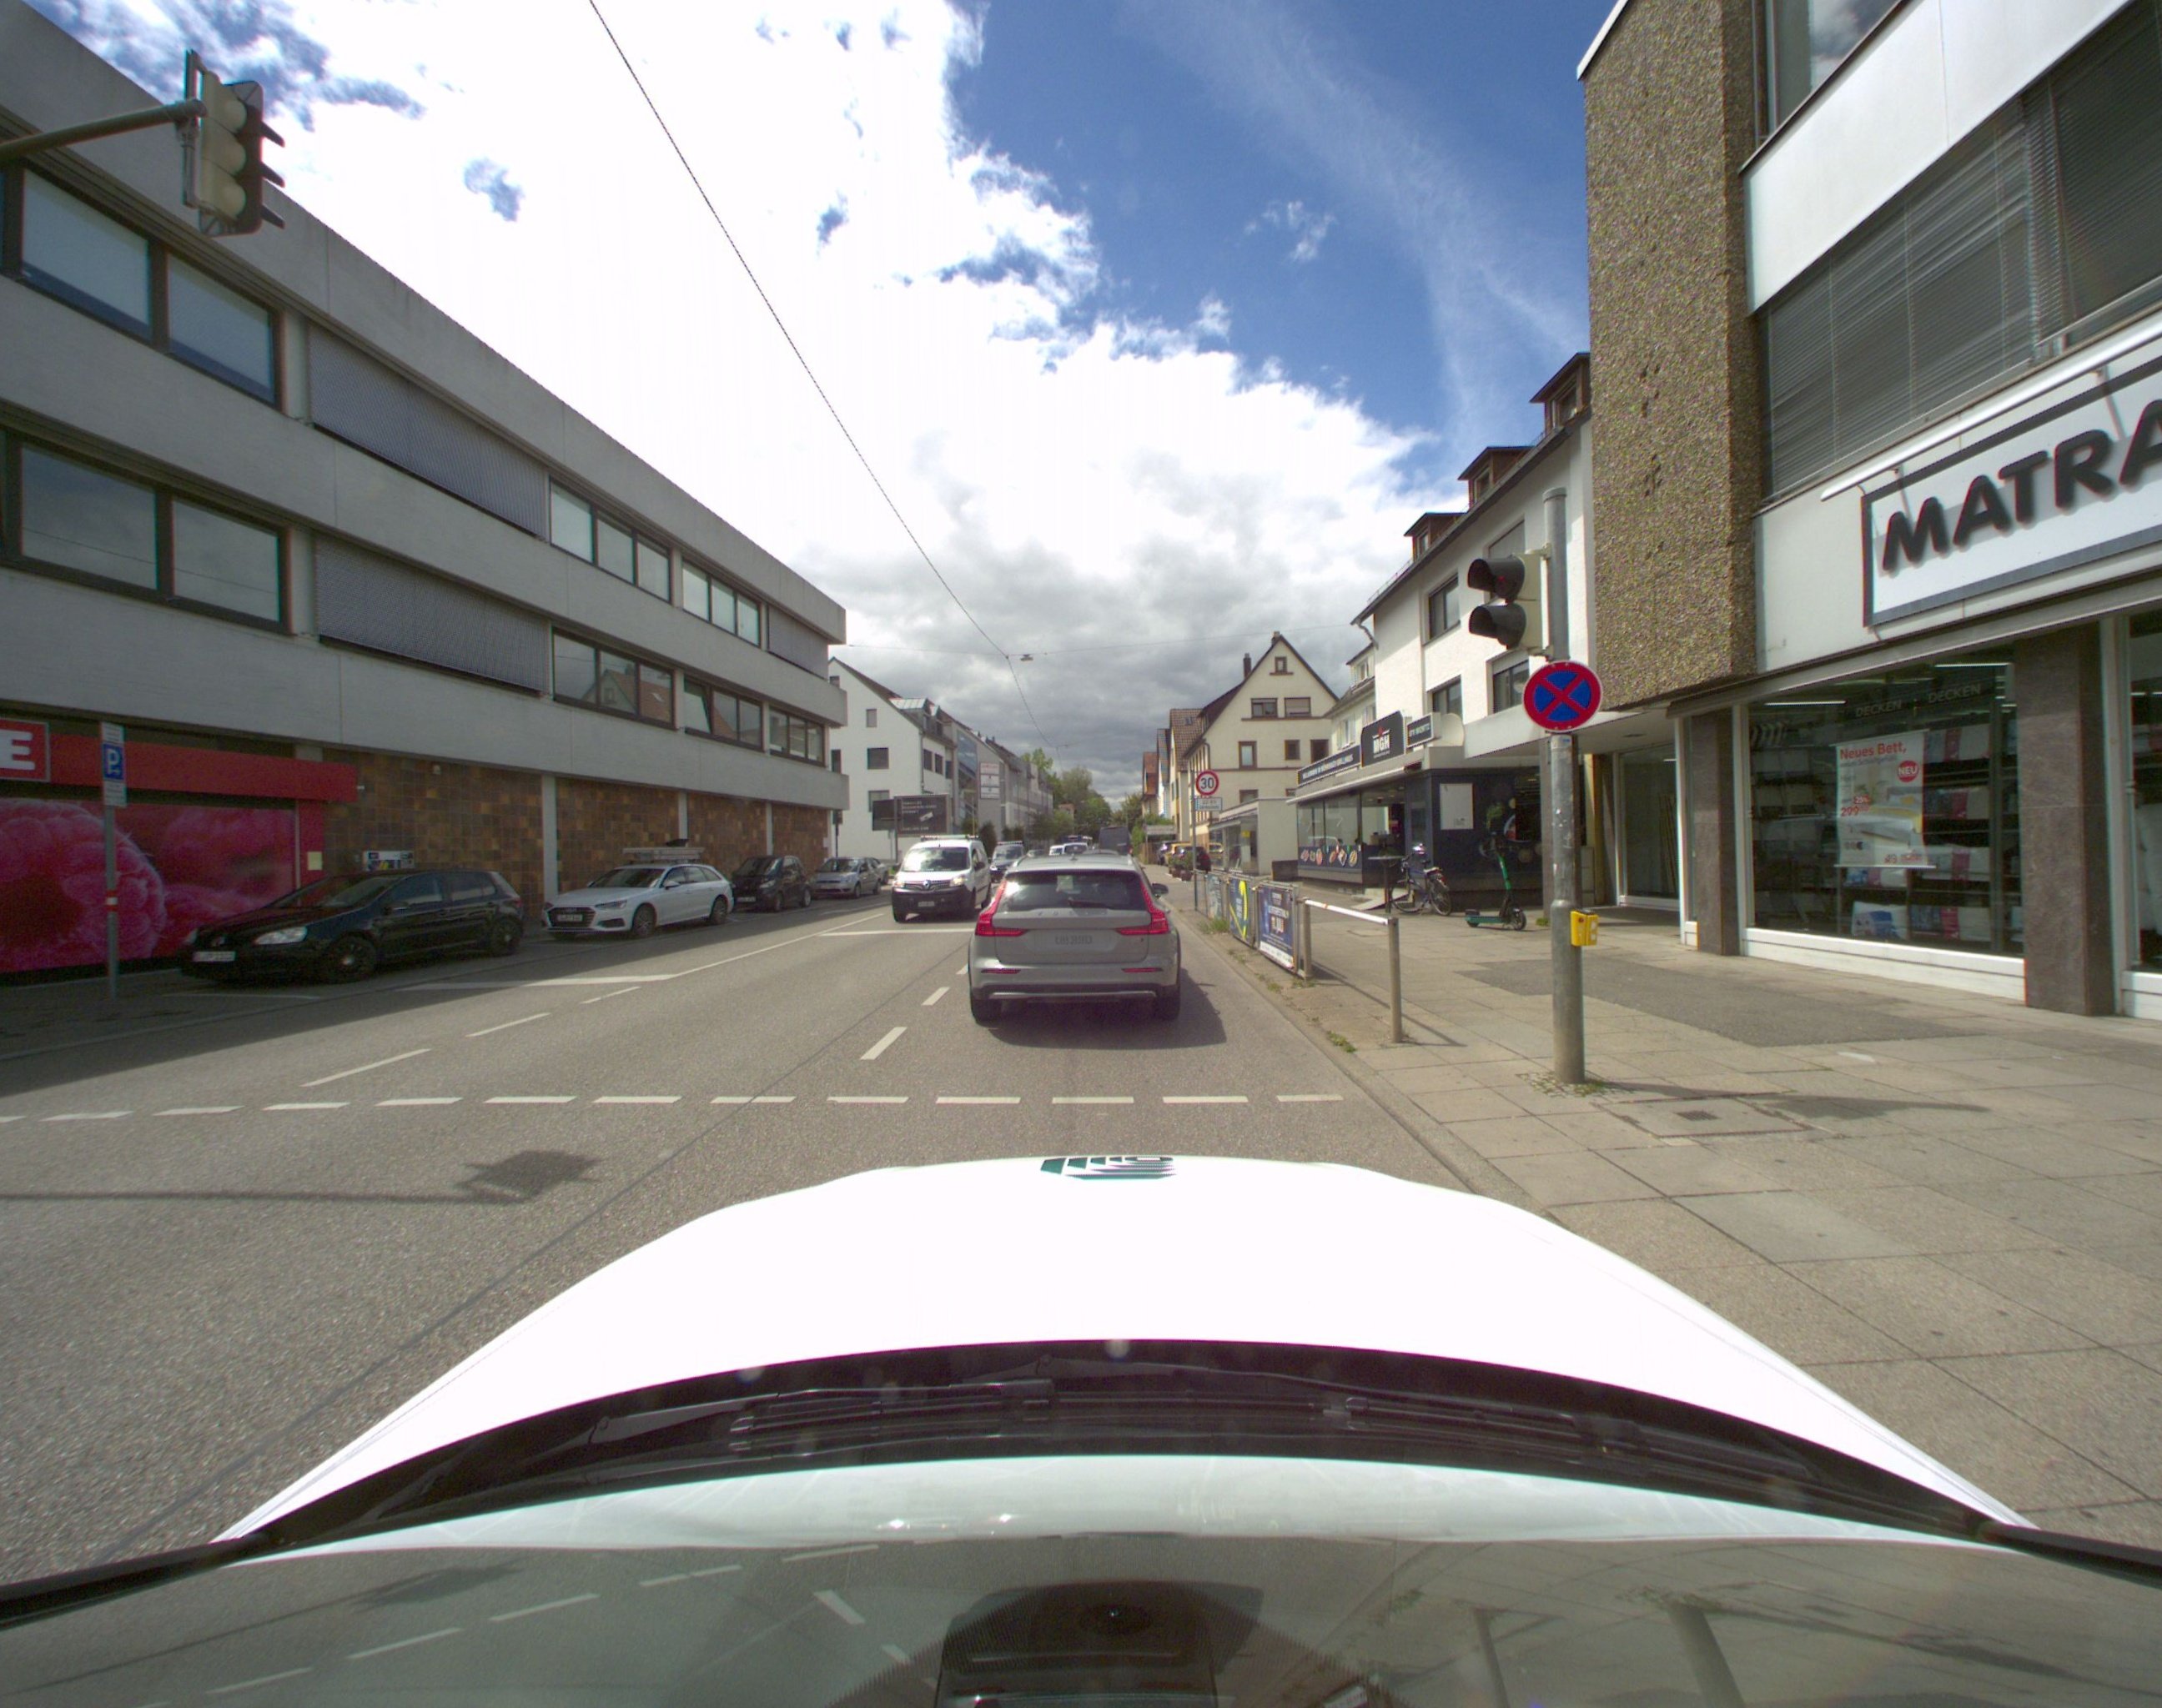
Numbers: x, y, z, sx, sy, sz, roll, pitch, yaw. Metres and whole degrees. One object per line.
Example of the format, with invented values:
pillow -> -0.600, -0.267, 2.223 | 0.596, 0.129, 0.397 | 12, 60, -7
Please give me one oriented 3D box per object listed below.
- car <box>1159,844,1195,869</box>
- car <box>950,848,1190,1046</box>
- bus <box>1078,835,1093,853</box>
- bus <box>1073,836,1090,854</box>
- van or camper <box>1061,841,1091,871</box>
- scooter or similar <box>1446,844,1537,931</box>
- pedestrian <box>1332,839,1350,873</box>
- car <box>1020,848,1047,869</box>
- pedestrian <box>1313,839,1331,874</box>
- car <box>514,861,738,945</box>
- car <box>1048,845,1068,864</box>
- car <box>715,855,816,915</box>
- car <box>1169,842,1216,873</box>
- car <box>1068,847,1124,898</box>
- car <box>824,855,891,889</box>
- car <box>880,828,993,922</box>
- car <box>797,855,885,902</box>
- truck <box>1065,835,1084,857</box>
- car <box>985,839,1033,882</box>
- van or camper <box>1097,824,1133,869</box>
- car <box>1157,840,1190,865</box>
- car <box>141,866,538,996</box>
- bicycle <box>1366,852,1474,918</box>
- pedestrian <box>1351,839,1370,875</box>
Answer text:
car -> 5.838, 0.185, 49.754 | 1.875, 1.415, 3.973 | -1, -1, 2
car -> -0.057, 0.715, 8.324 | 1.829, 1.486, 4.000 | -1, 0, 1
bus -> 0.837, -1.689, 137.558 | 2.267, 2.901, 7.083 | -2, 1, 2
bus -> 0.053, -1.453, 128.065 | 2.267, 2.668, 7.433 | -2, 1, 2
van or camper -> -0.288, 0.184, 53.564 | 1.813, 1.835, 4.000 | -1, -2, 1
scooter or similar -> 6.303, 0.514, 12.562 | 0.342, 1.253, 1.235 | -4, 0, -25
pedestrian -> 8.136, 0.054, 25.482 | 0.413, 1.052, 0.367 | -2, 0, -1
car -> -3.590, 0.314, 61.981 | 1.756, 1.426, 4.001 | -2, 1, 1
pedestrian -> 7.413, 0.083, 25.047 | 0.413, 1.052, 0.367 | -2, 0, -1
car -> -9.264, 0.919, 17.125 | 1.895, 1.443, 4.450 | 0, 1, 5
car -> -2.290, 0.052, 82.444 | 1.791, 1.816, 4.002 | -1, -1, 2
car -> -8.832, 0.825, 23.021 | 1.601, 1.543, 2.946 | 0, 1, 2
car -> 5.483, 0.211, 40.470 | 1.705, 1.464, 3.998 | -1, -1, -1
car -> 0.488, 0.546, 26.036 | 1.645, 1.482, 3.607 | -1, 0, 1
car -> -10.373, 0.816, 38.128 | 1.899, 1.398, 3.844 | -2, 1, 2
car -> -3.235, 0.439, 19.034 | 1.832, 1.917, 4.156 | -1, 0, 1
car -> -8.515, 0.831, 29.218 | 1.748, 1.426, 3.866 | -2, 1, 4
truck -> -0.862, -1.089, 112.146 | 2.267, 2.886, 7.083 | -2, 1, 2
car -> -3.441, 0.308, 39.694 | 1.832, 1.917, 4.532 | -3, 0, 1
van or camper -> 2.162, -0.476, 52.197 | 2.115, 2.686, 4.784 | -2, 1, 2
car -> 6.086, -0.073, 54.123 | 1.875, 1.500, 3.973 | -1, -1, 2
car -> -10.237, 0.947, 11.771 | 1.776, 1.464, 4.092 | 0, 0, 5
bicycle -> 6.381, 0.545, 15.488 | 0.556, 1.144, 2.287 | -3, 0, -16
pedestrian -> 8.253, 0.085, 24.072 | 0.413, 1.052, 0.367 | -2, 0, -1
